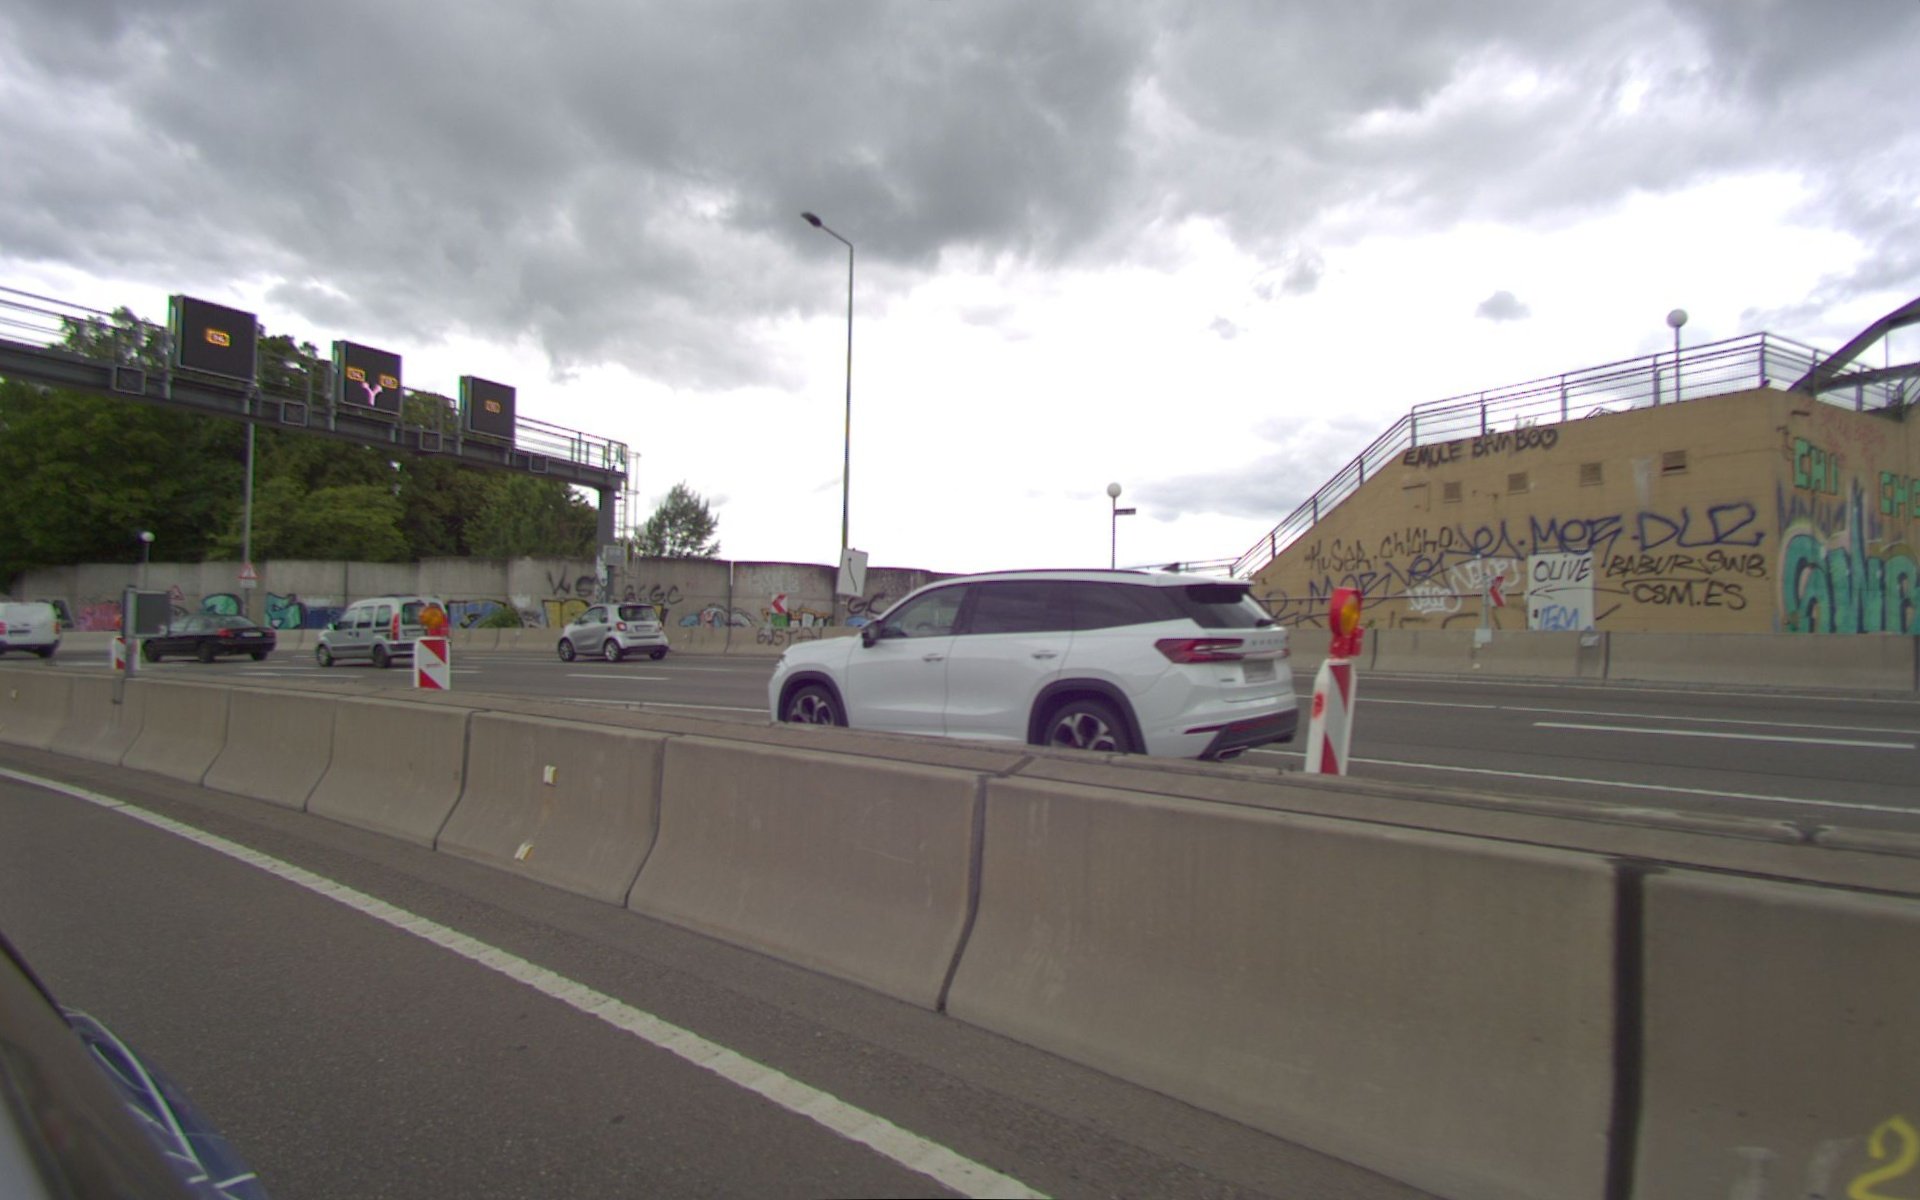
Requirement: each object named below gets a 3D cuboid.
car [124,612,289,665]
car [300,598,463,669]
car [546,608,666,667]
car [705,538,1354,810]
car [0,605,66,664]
[{"bbox_3d":[-22.633,1.117,30.404,4.559,1.500,1.984,-1,-1,23],"label":"car"},{"bbox_3d":[-15.088,0.852,26.358,4.247,1.698,1.978,-1,-1,33],"label":"car"},{"bbox_3d":[-9.422,0.972,26.903,2.933,1.487,1.612,-1,-1,34],"label":"car"},{"bbox_3d":[0.265,0.483,8.322,5.141,1.564,2.075,-2,-1,42],"label":"car"},{"bbox_3d":[-33.798,1.163,34.962,5.066,1.966,2.229,0,-1,20],"label":"car"}]
